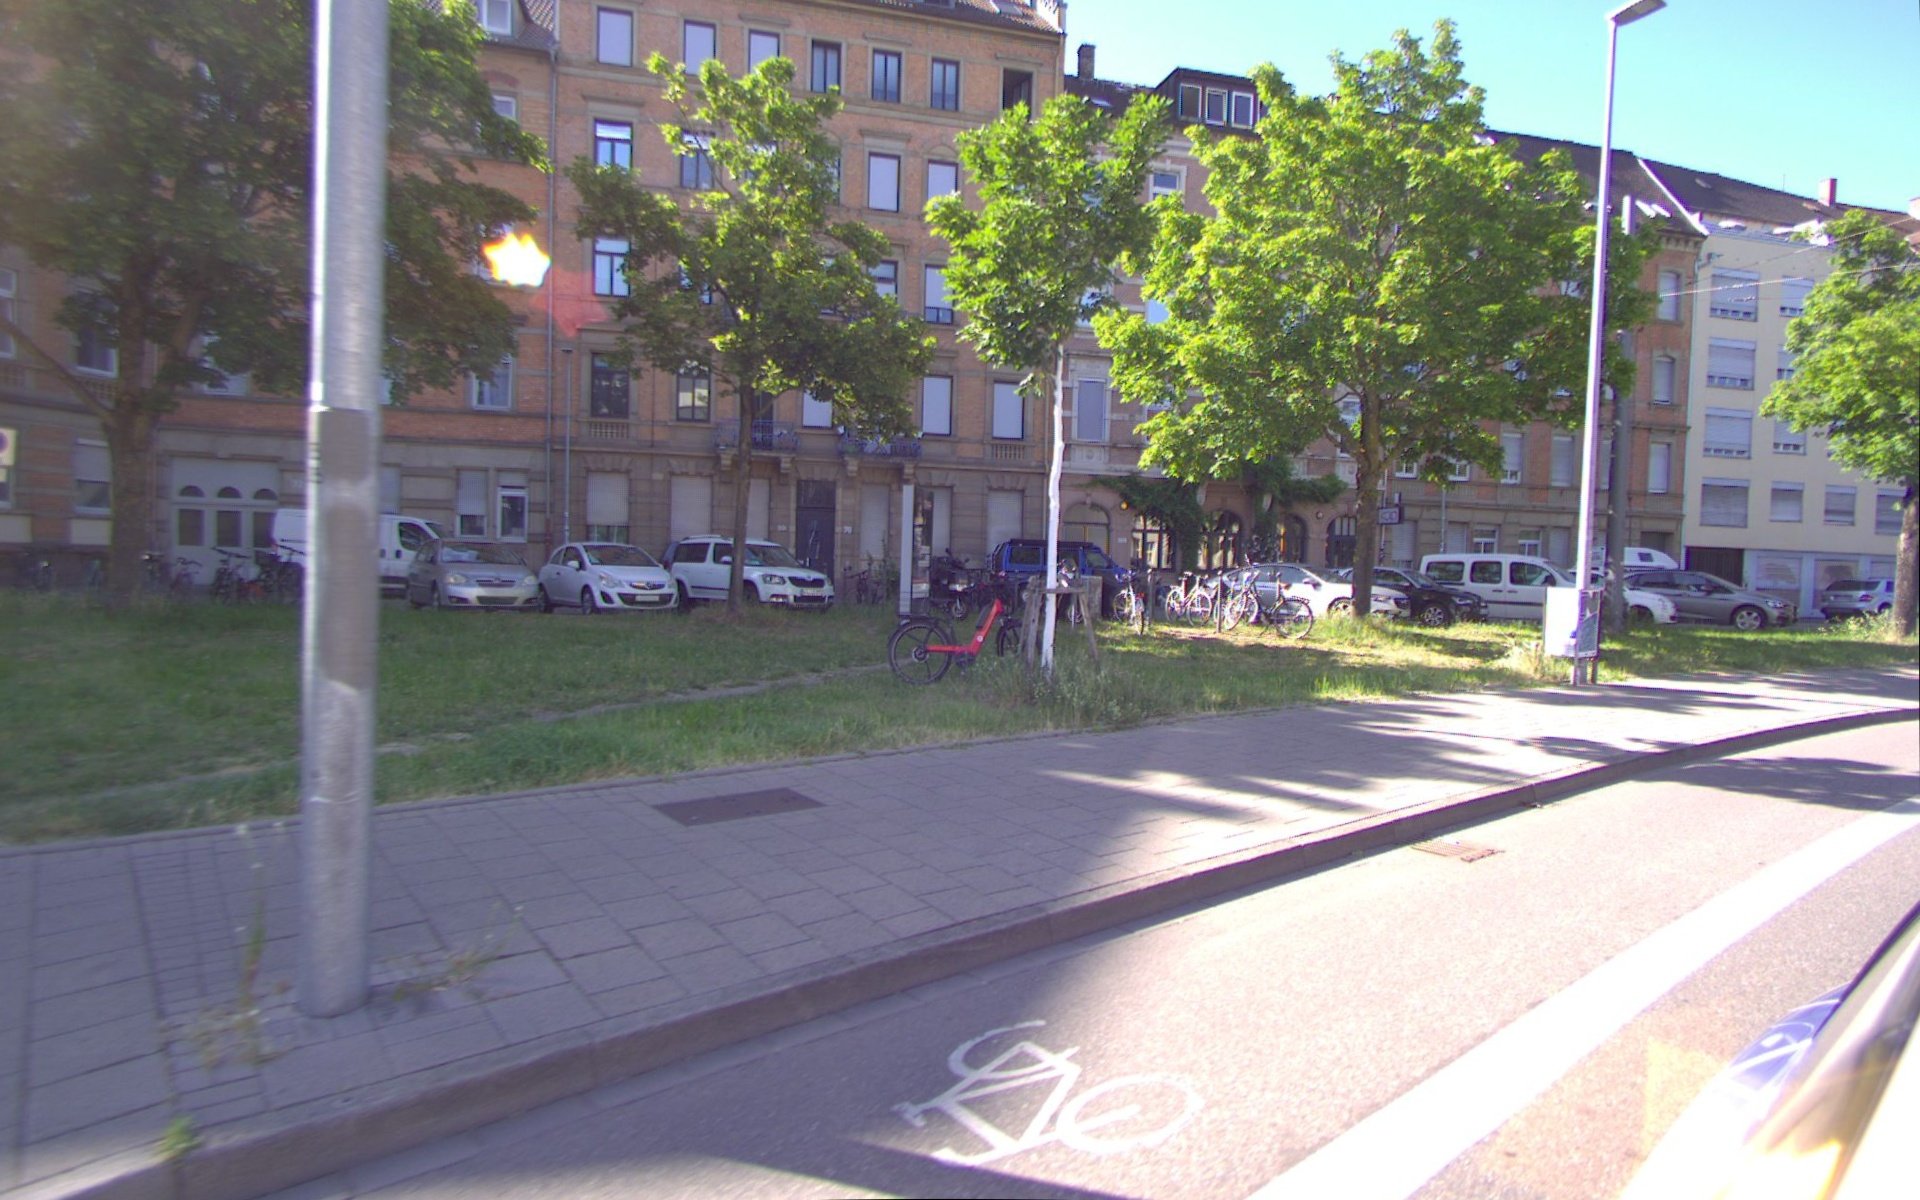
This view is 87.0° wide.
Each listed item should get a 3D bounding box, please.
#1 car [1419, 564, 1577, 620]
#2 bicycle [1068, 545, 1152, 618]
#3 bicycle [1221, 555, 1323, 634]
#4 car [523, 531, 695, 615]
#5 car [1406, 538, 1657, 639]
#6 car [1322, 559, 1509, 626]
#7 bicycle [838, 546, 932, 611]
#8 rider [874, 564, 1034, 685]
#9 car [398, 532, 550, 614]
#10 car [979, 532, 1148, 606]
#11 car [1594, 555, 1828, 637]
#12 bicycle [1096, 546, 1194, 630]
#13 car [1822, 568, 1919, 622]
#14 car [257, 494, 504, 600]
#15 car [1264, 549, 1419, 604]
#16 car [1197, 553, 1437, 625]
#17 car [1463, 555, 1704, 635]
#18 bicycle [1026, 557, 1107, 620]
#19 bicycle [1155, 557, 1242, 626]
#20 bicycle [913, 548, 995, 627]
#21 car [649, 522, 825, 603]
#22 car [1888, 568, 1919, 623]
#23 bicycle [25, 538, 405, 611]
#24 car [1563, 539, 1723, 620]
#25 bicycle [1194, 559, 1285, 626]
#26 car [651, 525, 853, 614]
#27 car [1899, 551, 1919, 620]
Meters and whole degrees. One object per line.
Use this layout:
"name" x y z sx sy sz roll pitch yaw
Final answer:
"car" 18.301 -0.287 34.483 4.418 1.712 2.004 1 2 -12
"bicycle" 2.957 -0.388 20.221 0.771 1.381 2.105 1 2 -18
"bicycle" 5.583 -0.118 18.121 1.583 1.305 0.763 4 3 28
"car" -6.878 -0.556 19.617 1.730 1.459 3.836 0 2 -43
"car" 13.736 -0.381 24.549 4.868 2.037 2.068 6 5 44
"car" 10.748 -0.211 24.016 3.605 1.397 1.895 4 2 44
"bicycle" -1.701 -0.494 22.723 2.089 1.381 0.777 3 2 37
"rider" -0.053 0.250 10.950 1.646 1.190 0.503 3 2 5
"car" -9.093 -0.527 18.773 1.805 1.353 4.057 1 2 -36
"car" 3.098 -0.964 30.837 4.625 2.001 2.005 2 3 -12
"car" 19.425 -0.194 26.350 1.966 1.748 4.508 -1 5 -41
"bicycle" 3.234 -0.240 17.956 0.771 1.381 2.105 1 2 -18
"car" 35.550 -0.148 38.304 4.529 1.821 2.005 2 3 -13
"car" -14.874 -1.364 26.320 5.079 2.385 2.363 2 3 -12
"car" 12.620 -0.786 33.543 4.417 1.547 2.006 2 3 -16
"car" 8.026 -0.295 23.087 4.739 1.397 2.013 4 2 45
"car" 16.032 -0.225 26.250 2.065 1.667 4.875 -1 5 -41
"bicycle" 2.069 -0.250 20.032 0.805 1.172 2.175 1 2 -16
"bicycle" 4.628 -0.196 19.779 0.824 1.206 1.969 1 3 -13
"bicycle" -0.151 -0.261 19.299 0.771 1.415 2.105 1 2 -23
"car" -6.272 -1.072 28.665 4.625 2.001 2.005 2 3 -12
"car" 28.332 -0.021 27.846 4.021 1.496 1.784 6 5 44
"bicycle" -13.549 -0.469 18.922 5.112 1.141 2.690 1 2 -18
"car" 24.281 -0.760 36.033 4.419 2.616 2.005 2 3 -11
"bicycle" 5.496 -0.177 20.039 0.881 1.194 1.956 1 3 -13
"car" -4.285 -0.649 20.354 1.905 1.585 4.462 0 2 -43
"car" 30.852 -0.285 29.253 2.065 2.036 5.182 -1 5 -41
